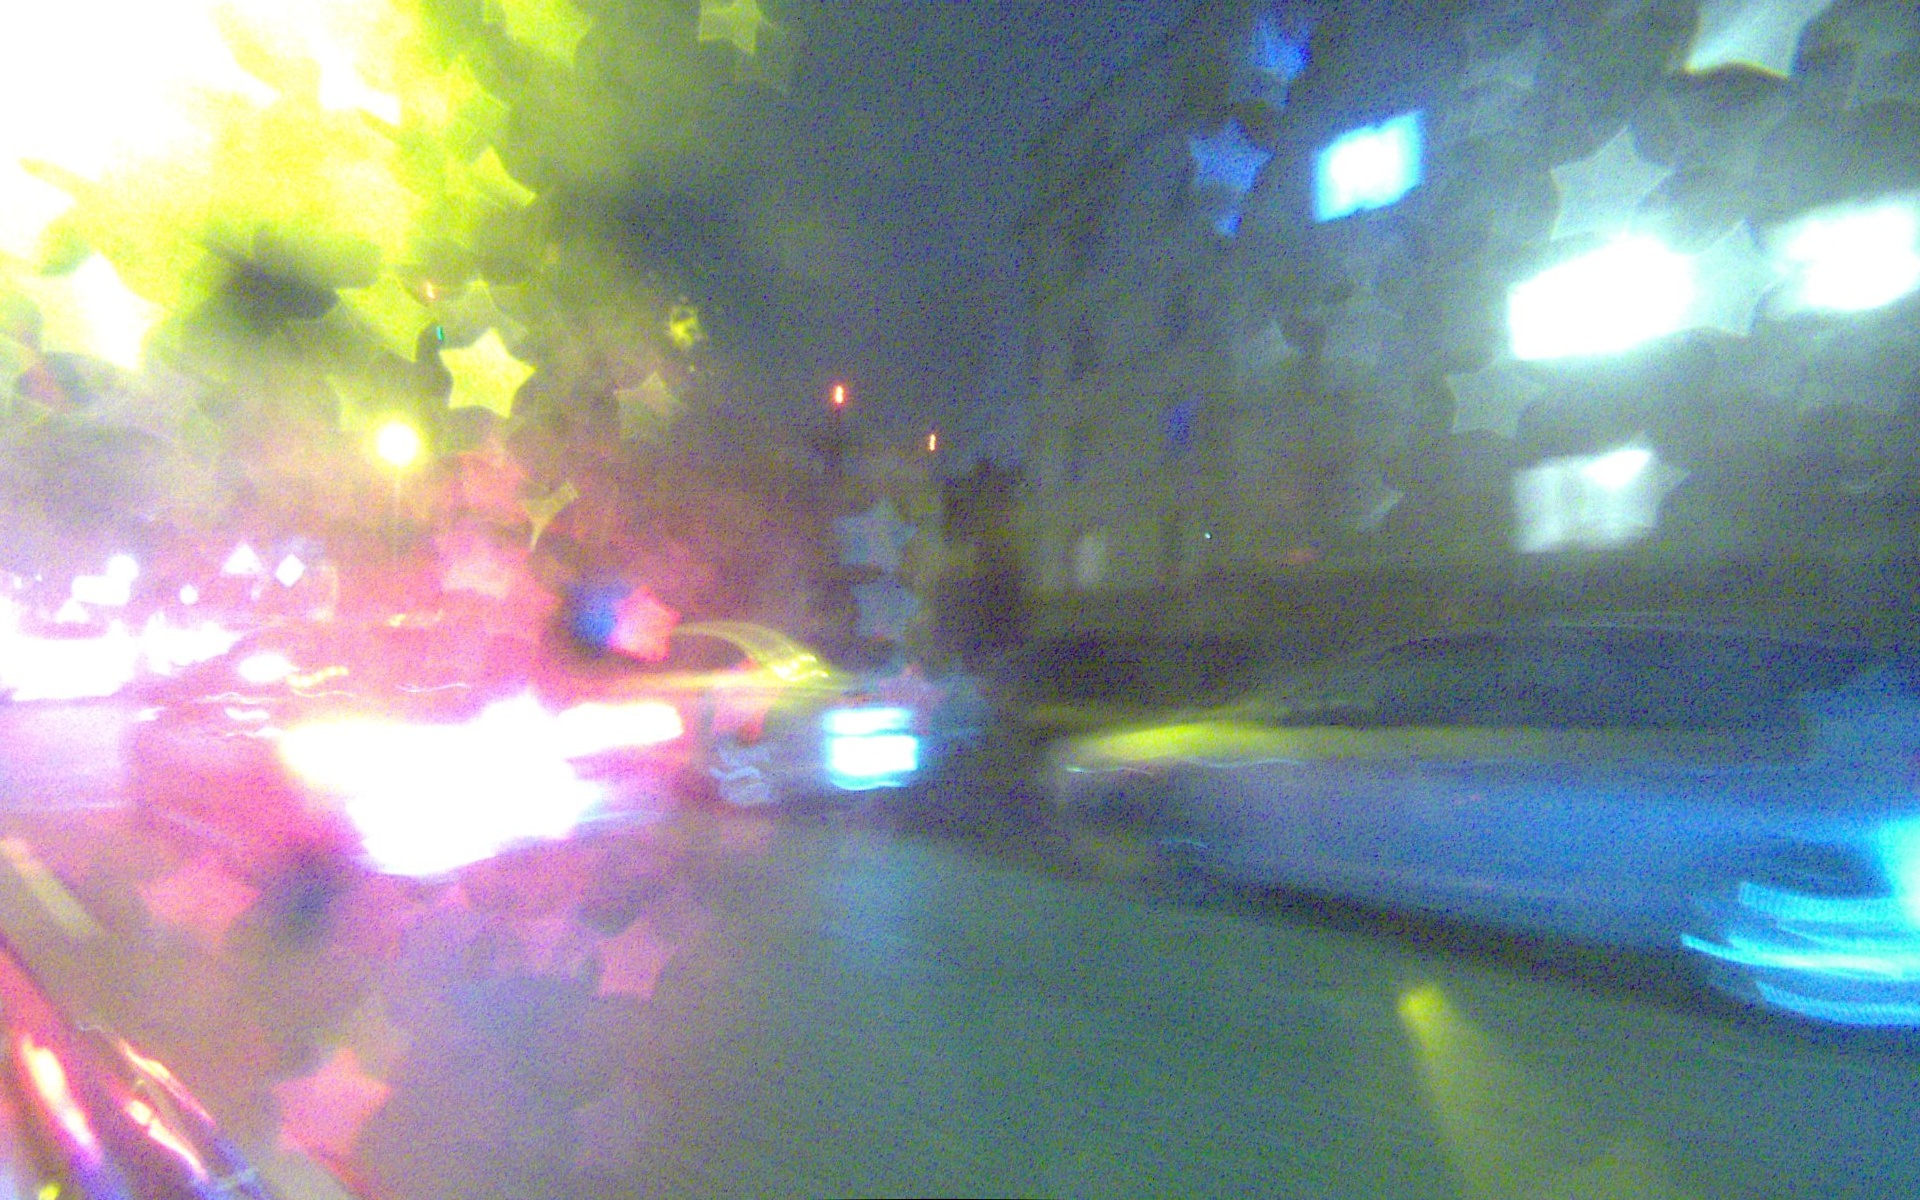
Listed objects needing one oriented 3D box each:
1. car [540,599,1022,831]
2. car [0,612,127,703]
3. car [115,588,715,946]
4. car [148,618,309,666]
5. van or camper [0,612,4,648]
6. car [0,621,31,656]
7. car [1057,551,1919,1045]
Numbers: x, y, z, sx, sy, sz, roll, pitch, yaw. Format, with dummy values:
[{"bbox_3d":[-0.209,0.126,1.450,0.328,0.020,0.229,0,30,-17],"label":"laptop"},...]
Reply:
[{"bbox_3d":[-1.762,0.805,8.606,4.645,1.468,1.560,-1,-4,44],"label":"car"},{"bbox_3d":[-16.447,0.985,18.228,4.512,1.445,1.657,-2,-2,43],"label":"car"},{"bbox_3d":[-3.657,0.720,6.356,4.521,1.472,1.838,-1,-1,41],"label":"car"},{"bbox_3d":[-26.460,1.470,36.761,4.627,1.631,2.005,1,-2,-36],"label":"car"},{"bbox_3d":[-59.051,1.763,61.020,4.945,2.119,1.849,-1,-1,45],"label":"van or camper"},{"bbox_3d":[-44.396,1.761,46.891,1.776,1.472,4.580,-2,1,-45],"label":"car"},{"bbox_3d":[2.640,0.677,4.653,4.301,1.548,1.594,-1,-4,44],"label":"car"}]
